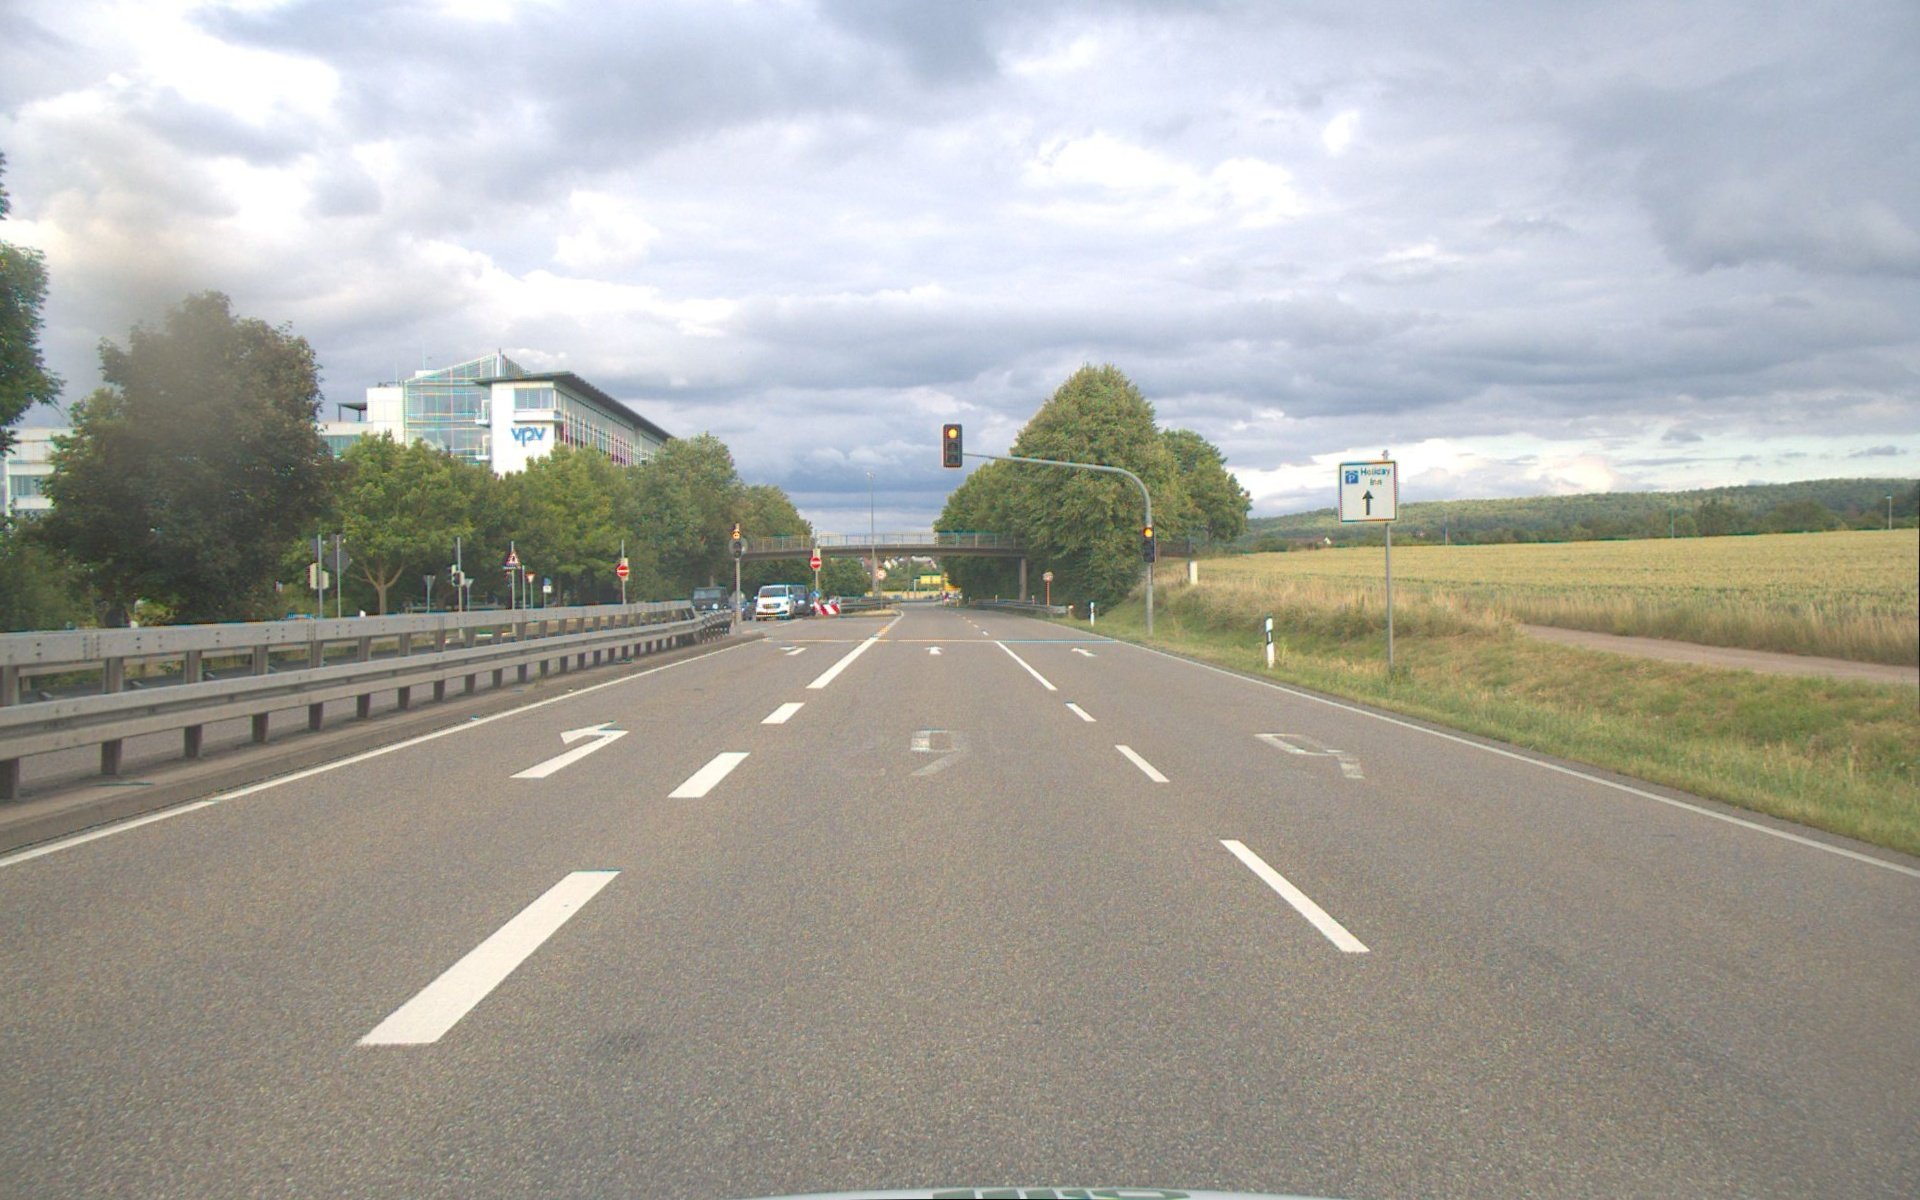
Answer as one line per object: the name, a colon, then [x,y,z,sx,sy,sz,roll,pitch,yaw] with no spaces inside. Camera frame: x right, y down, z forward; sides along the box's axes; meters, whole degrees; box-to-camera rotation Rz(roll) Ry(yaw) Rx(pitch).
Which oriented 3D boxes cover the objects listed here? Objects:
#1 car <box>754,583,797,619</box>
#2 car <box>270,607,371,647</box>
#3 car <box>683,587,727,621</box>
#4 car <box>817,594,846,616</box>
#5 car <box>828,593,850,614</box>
car: [-10.133,0.022,91.147,1.908,1.906,4.736,-1,1,-1]
car: [-26.137,1.092,67.676,3.647,1.566,1.728,-1,0,-14]
car: [-13.960,0.205,90.867,1.831,1.784,4.048,-1,1,-1]
car: [-6.899,0.261,89.215,1.330,1.111,2.922,-1,1,0]
car: [-7.699,0.216,105.730,1.286,1.251,2.921,-1,1,-2]
